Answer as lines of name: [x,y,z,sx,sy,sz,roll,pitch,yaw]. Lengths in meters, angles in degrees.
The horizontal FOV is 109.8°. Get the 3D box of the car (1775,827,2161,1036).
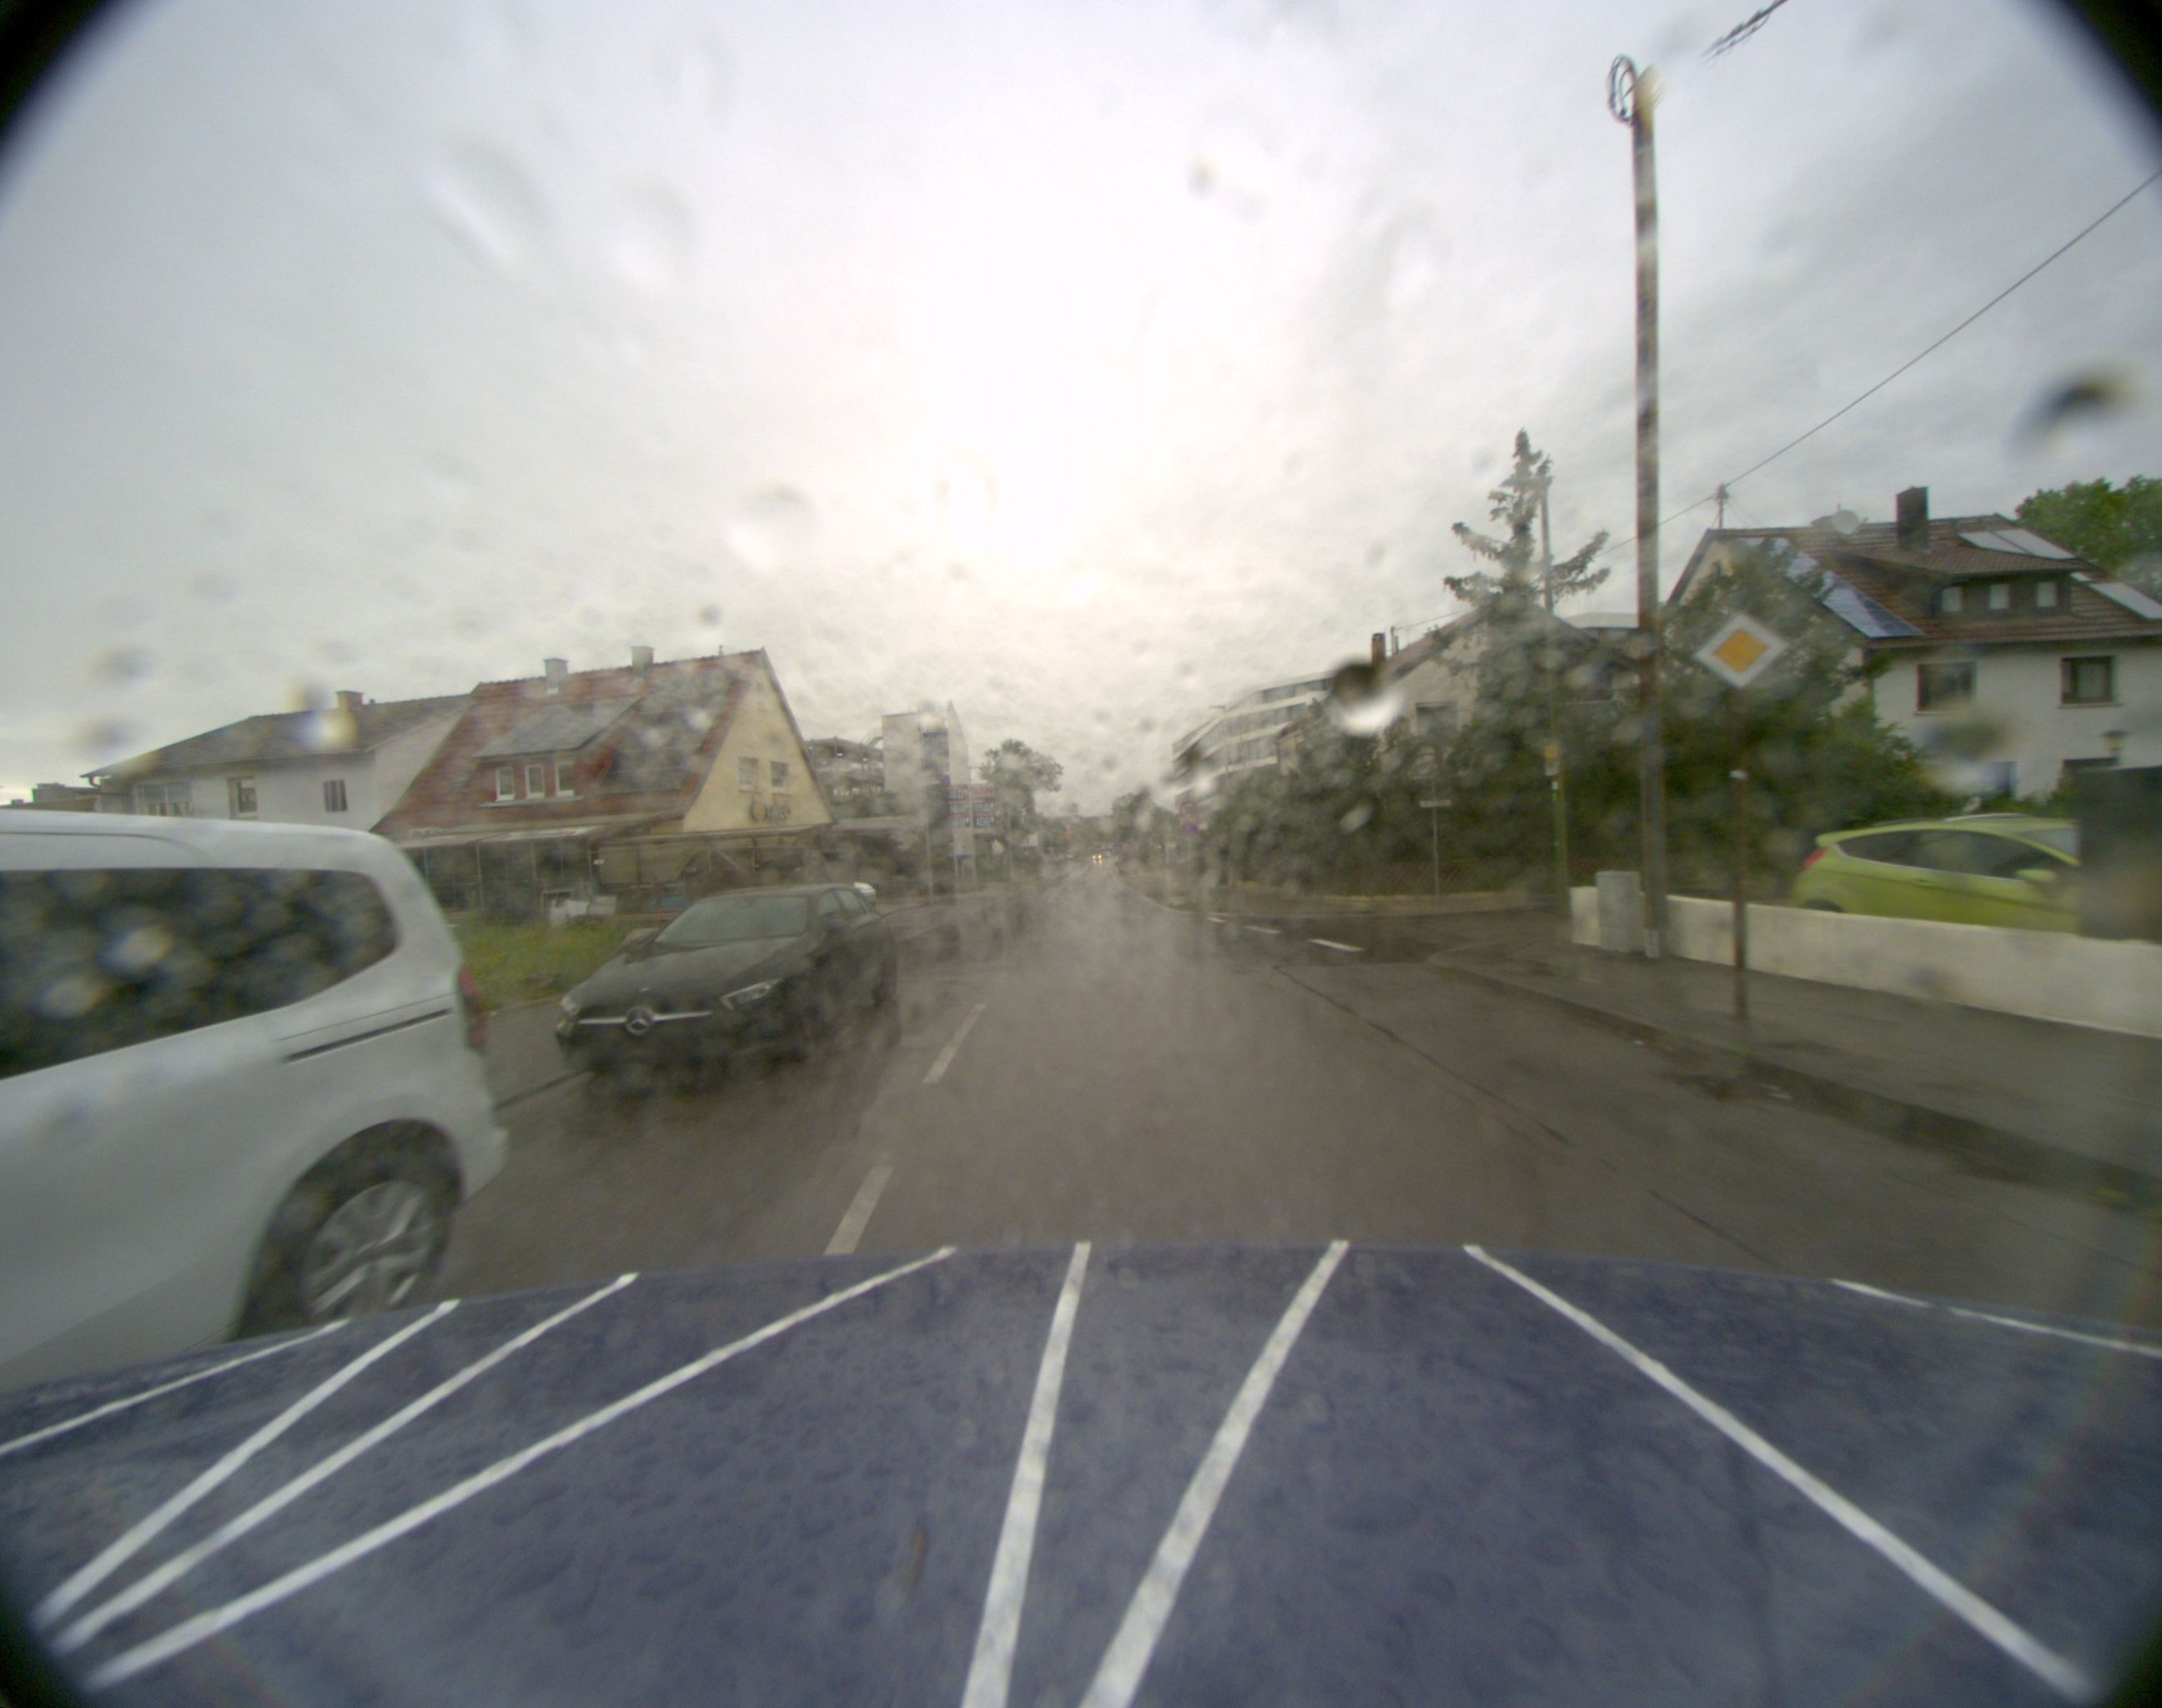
car: [8.897,0.536,7.038,1.783,1.459,3.456,-3,1,1]

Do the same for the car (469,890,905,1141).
car: [-3.116,1.179,7.209,1.773,1.328,4.320,-4,0,0]

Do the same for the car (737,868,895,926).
car: [-8.203,1.299,23.811,4.227,1.601,1.860,-1,1,-1]

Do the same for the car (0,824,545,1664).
car: [-3.278,0.903,0.983,1.773,1.814,4.574,-4,0,0]

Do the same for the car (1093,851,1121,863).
car: [4.089,0.478,118.463,4.166,1.411,2.001,-5,0,6]

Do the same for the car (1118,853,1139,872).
car: [4.510,0.773,72.584,1.841,1.696,4.324,-3,0,3]

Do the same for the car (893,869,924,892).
car: [-11.713,1.781,51.745,1.694,1.332,4.336,-3,0,-9]

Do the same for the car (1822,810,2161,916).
car: [15.602,0.155,13.052,3.852,1.458,1.785,-4,-1,2]
